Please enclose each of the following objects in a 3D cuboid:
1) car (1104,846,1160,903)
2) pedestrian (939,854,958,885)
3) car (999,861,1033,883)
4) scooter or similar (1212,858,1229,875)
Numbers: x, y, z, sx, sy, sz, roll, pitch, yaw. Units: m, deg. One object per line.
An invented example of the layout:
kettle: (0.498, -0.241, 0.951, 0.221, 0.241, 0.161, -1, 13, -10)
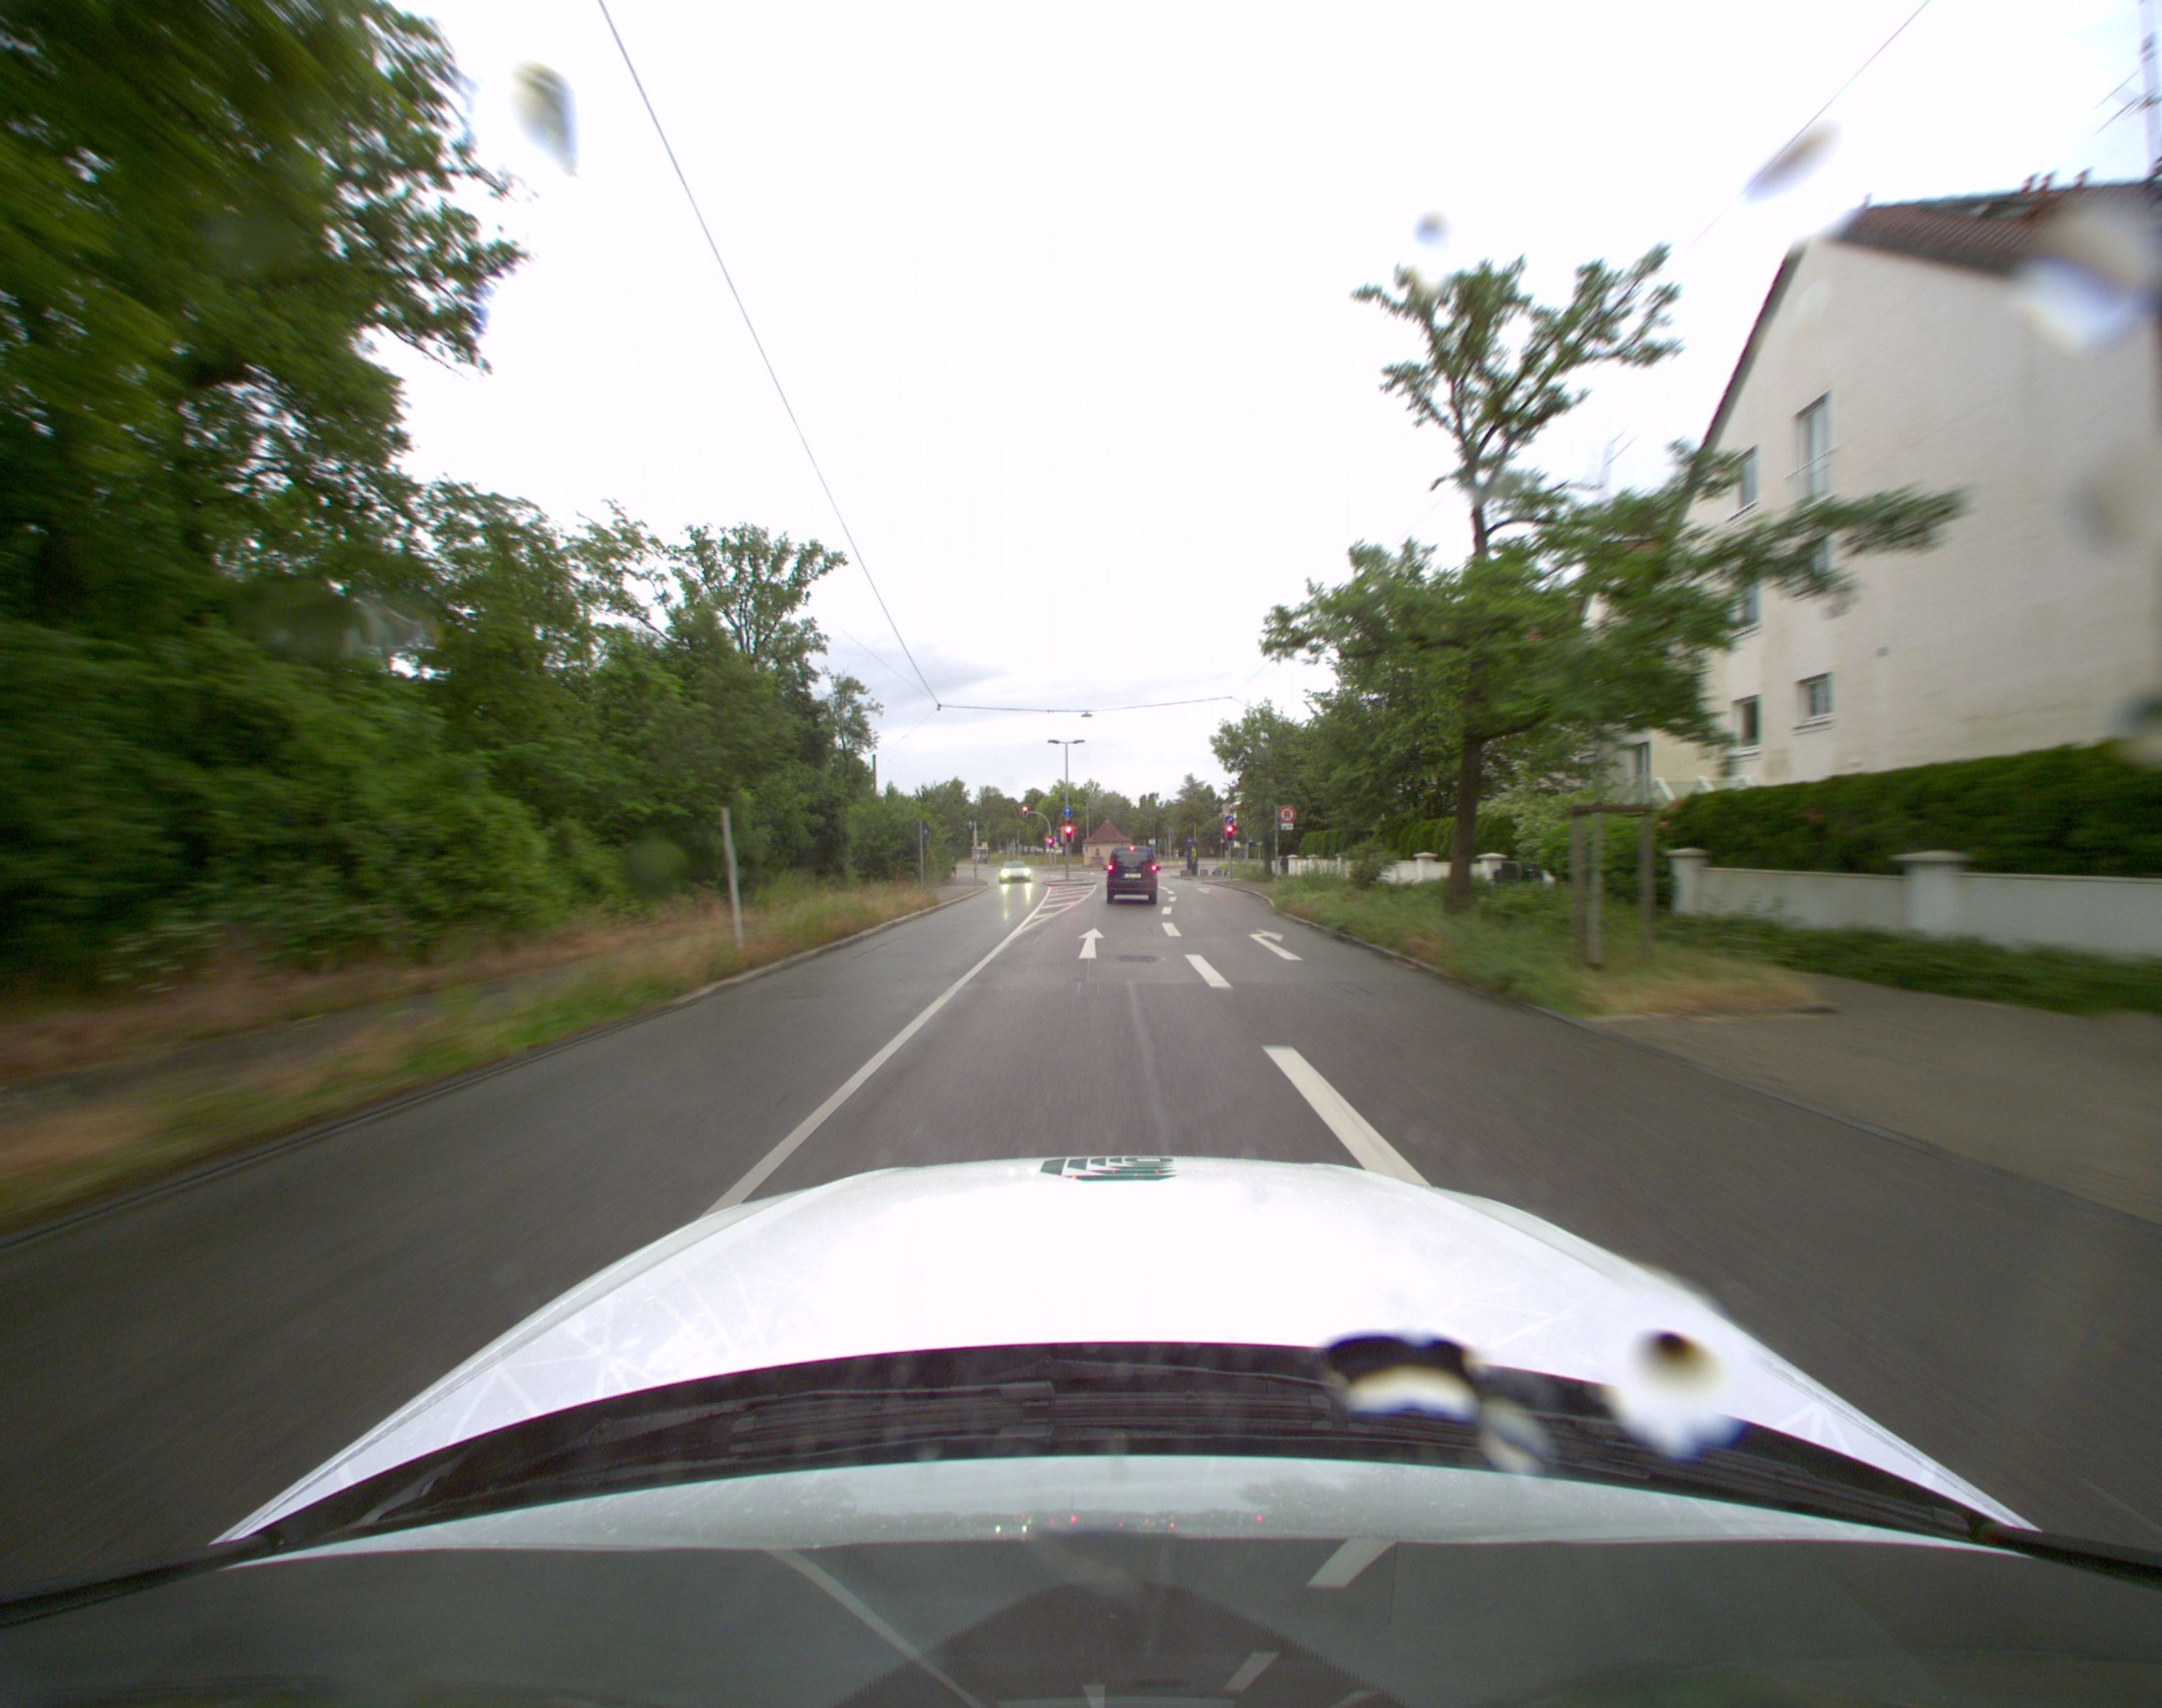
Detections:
car: (1.654, 0.653, 27.455, 1.725, 1.786, 4.001, 0, 0, 1)
pedestrian: (-8.628, 1.000, 53.163, 1.085, 2.014, 0.999, 0, -1, -2)
car: (-4.385, 1.177, 54.312, 1.992, 1.311, 4.348, -3, 0, -7)
scooter or similar: (10.490, 0.947, 61.272, 1.144, 1.219, 0.406, -1, -2, 2)
